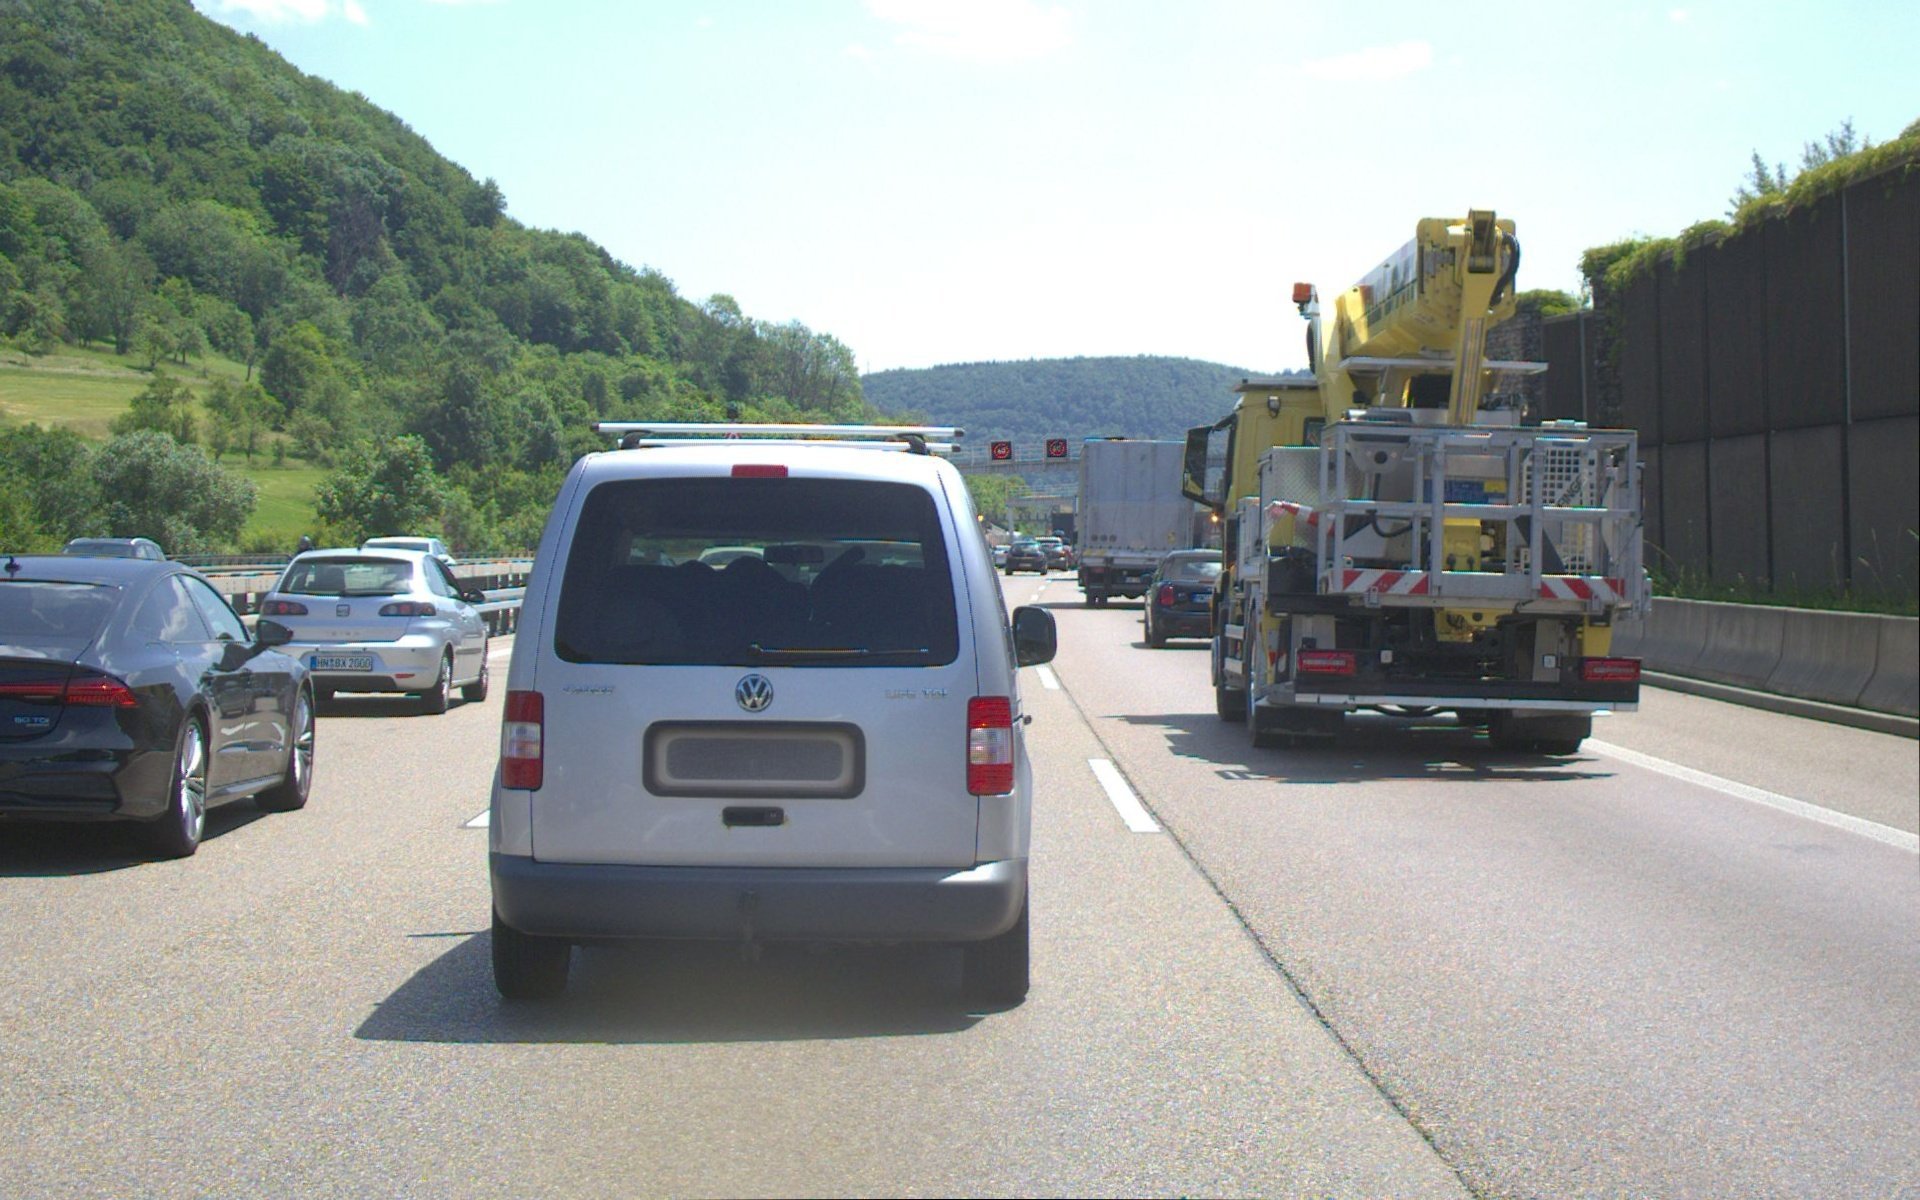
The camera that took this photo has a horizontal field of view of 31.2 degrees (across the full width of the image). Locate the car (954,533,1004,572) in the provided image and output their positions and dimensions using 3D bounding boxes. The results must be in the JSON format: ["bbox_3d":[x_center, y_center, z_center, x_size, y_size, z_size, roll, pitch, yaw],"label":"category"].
[{"bbox_3d":[0.902,-2.261,164.038,2.114,1.821,4.001,1,1,-3],"label":"car"}]

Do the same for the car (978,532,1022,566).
[{"bbox_3d":[2.152,-2.762,186.867,2.114,1.821,4.001,1,1,-3],"label":"car"}]

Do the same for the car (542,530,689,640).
[{"bbox_3d":[-4.934,-0.246,49.678,1.924,1.494,4.001,1,1,-3],"label":"car"}]

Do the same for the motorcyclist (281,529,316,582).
[{"bbox_3d":[-18.879,-1.275,98.100,0.844,1.496,0.838,0,1,-1],"label":"motorcyclist"}]

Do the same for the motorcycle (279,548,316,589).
[{"bbox_3d":[-18.878,-0.899,97.998,0.718,1.145,2.130,0,1,-1],"label":"motorcycle"}]

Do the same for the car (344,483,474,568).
[{"bbox_3d":[-11.511,-1.549,72.097,1.993,1.687,4.510,1,1,0],"label":"car"}]

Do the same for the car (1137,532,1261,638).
[{"bbox_3d":[4.604,-0.321,66.795,1.993,2.007,4.001,0,1,-2],"label":"car"}]

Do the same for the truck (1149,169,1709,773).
[{"bbox_3d":[3.304,-0.926,26.789,2.703,3.929,8.723,0,1,-3],"label":"truck"}]

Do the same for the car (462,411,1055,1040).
[{"bbox_3d":[-0.706,0.332,12.217,1.756,1.861,4.001,0,1,-3],"label":"car"}]

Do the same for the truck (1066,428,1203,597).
[{"bbox_3d":[4.101,-2.038,82.485,2.940,3.810,8.236,1,1,1],"label":"truck"}]

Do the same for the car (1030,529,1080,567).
[{"bbox_3d":[4.692,-2.548,170.115,2.114,1.821,4.001,1,1,-3],"label":"car"}]

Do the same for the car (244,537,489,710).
[{"bbox_3d":[-5.228,0.159,30.694,1.695,1.440,3.862,0,1,-3],"label":"car"}]

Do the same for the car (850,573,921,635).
[{"bbox_3d":[-2.272,0.105,106.166,2.114,1.821,4.000,1,1,0],"label":"car"}]

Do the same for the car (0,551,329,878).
[{"bbox_3d":[-4.489,0.462,17.333,1.800,1.385,4.970,0,1,-1],"label":"car"}]

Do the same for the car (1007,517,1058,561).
[{"bbox_3d":[3.000,-2.518,142.931,1.993,1.743,4.000,1,1,0],"label":"car"}]

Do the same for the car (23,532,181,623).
[{"bbox_3d":[-15.819,-0.449,63.588,1.869,1.612,4.355,0,1,0],"label":"car"}]

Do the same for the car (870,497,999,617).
[{"bbox_3d":[-0.471,-0.743,58.381,1.993,1.969,4.001,0,1,-3],"label":"car"}]

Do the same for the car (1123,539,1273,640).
[{"bbox_3d":[3.524,-0.189,51.547,1.786,1.453,3.771,0,1,-3],"label":"car"}]
